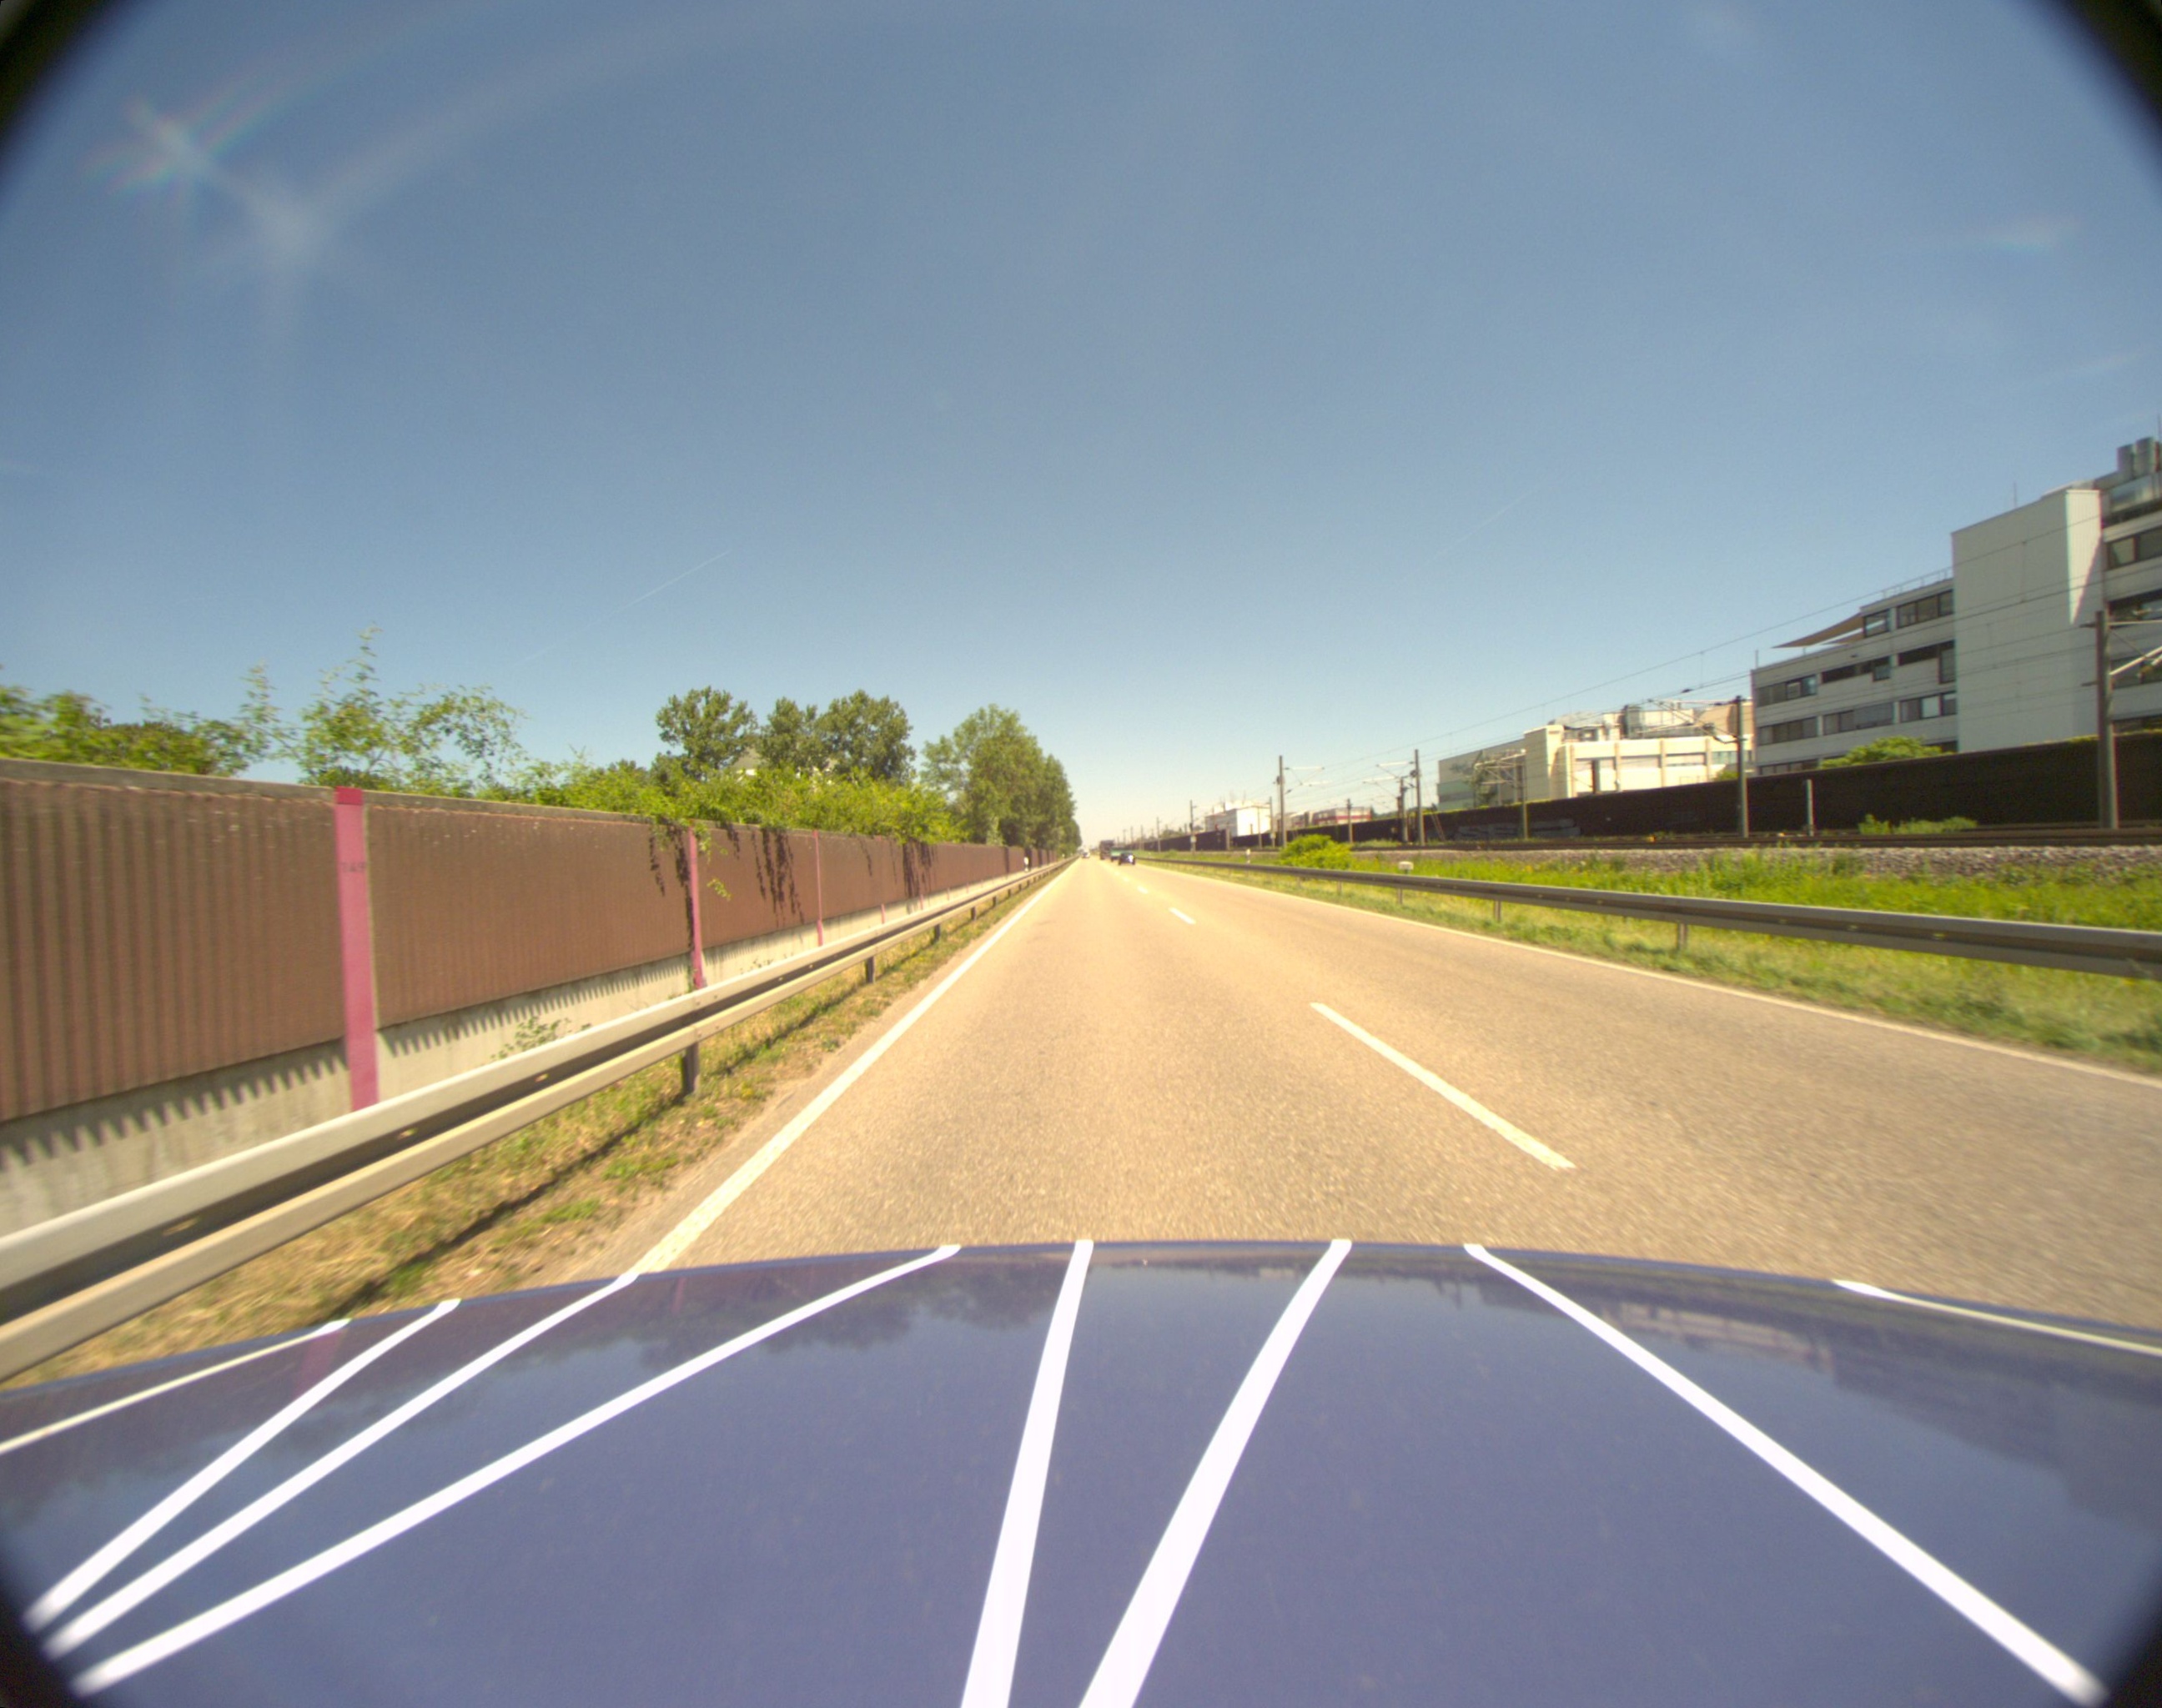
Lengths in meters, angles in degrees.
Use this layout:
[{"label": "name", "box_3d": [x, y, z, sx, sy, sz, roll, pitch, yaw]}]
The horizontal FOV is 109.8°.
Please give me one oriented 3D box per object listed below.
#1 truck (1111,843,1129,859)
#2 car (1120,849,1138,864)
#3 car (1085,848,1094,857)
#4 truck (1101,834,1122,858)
[{"label": "truck", "box_3d": [5.656, -0.462, 110.781, 2.389, 2.256, 6.236, -2, 1, 1]}, {"label": "car", "box_3d": [5.290, 0.258, 84.493, 1.803, 1.455, 4.000, -2, 1, 1]}, {"label": "car", "box_3d": [2.099, -0.427, 187.288, 1.998, 2.002, 4.000, -2, 1, 3]}, {"label": "truck", "box_3d": [5.690, -1.495, 144.898, 3.054, 4.449, 10.585, -2, 1, -2]}]
